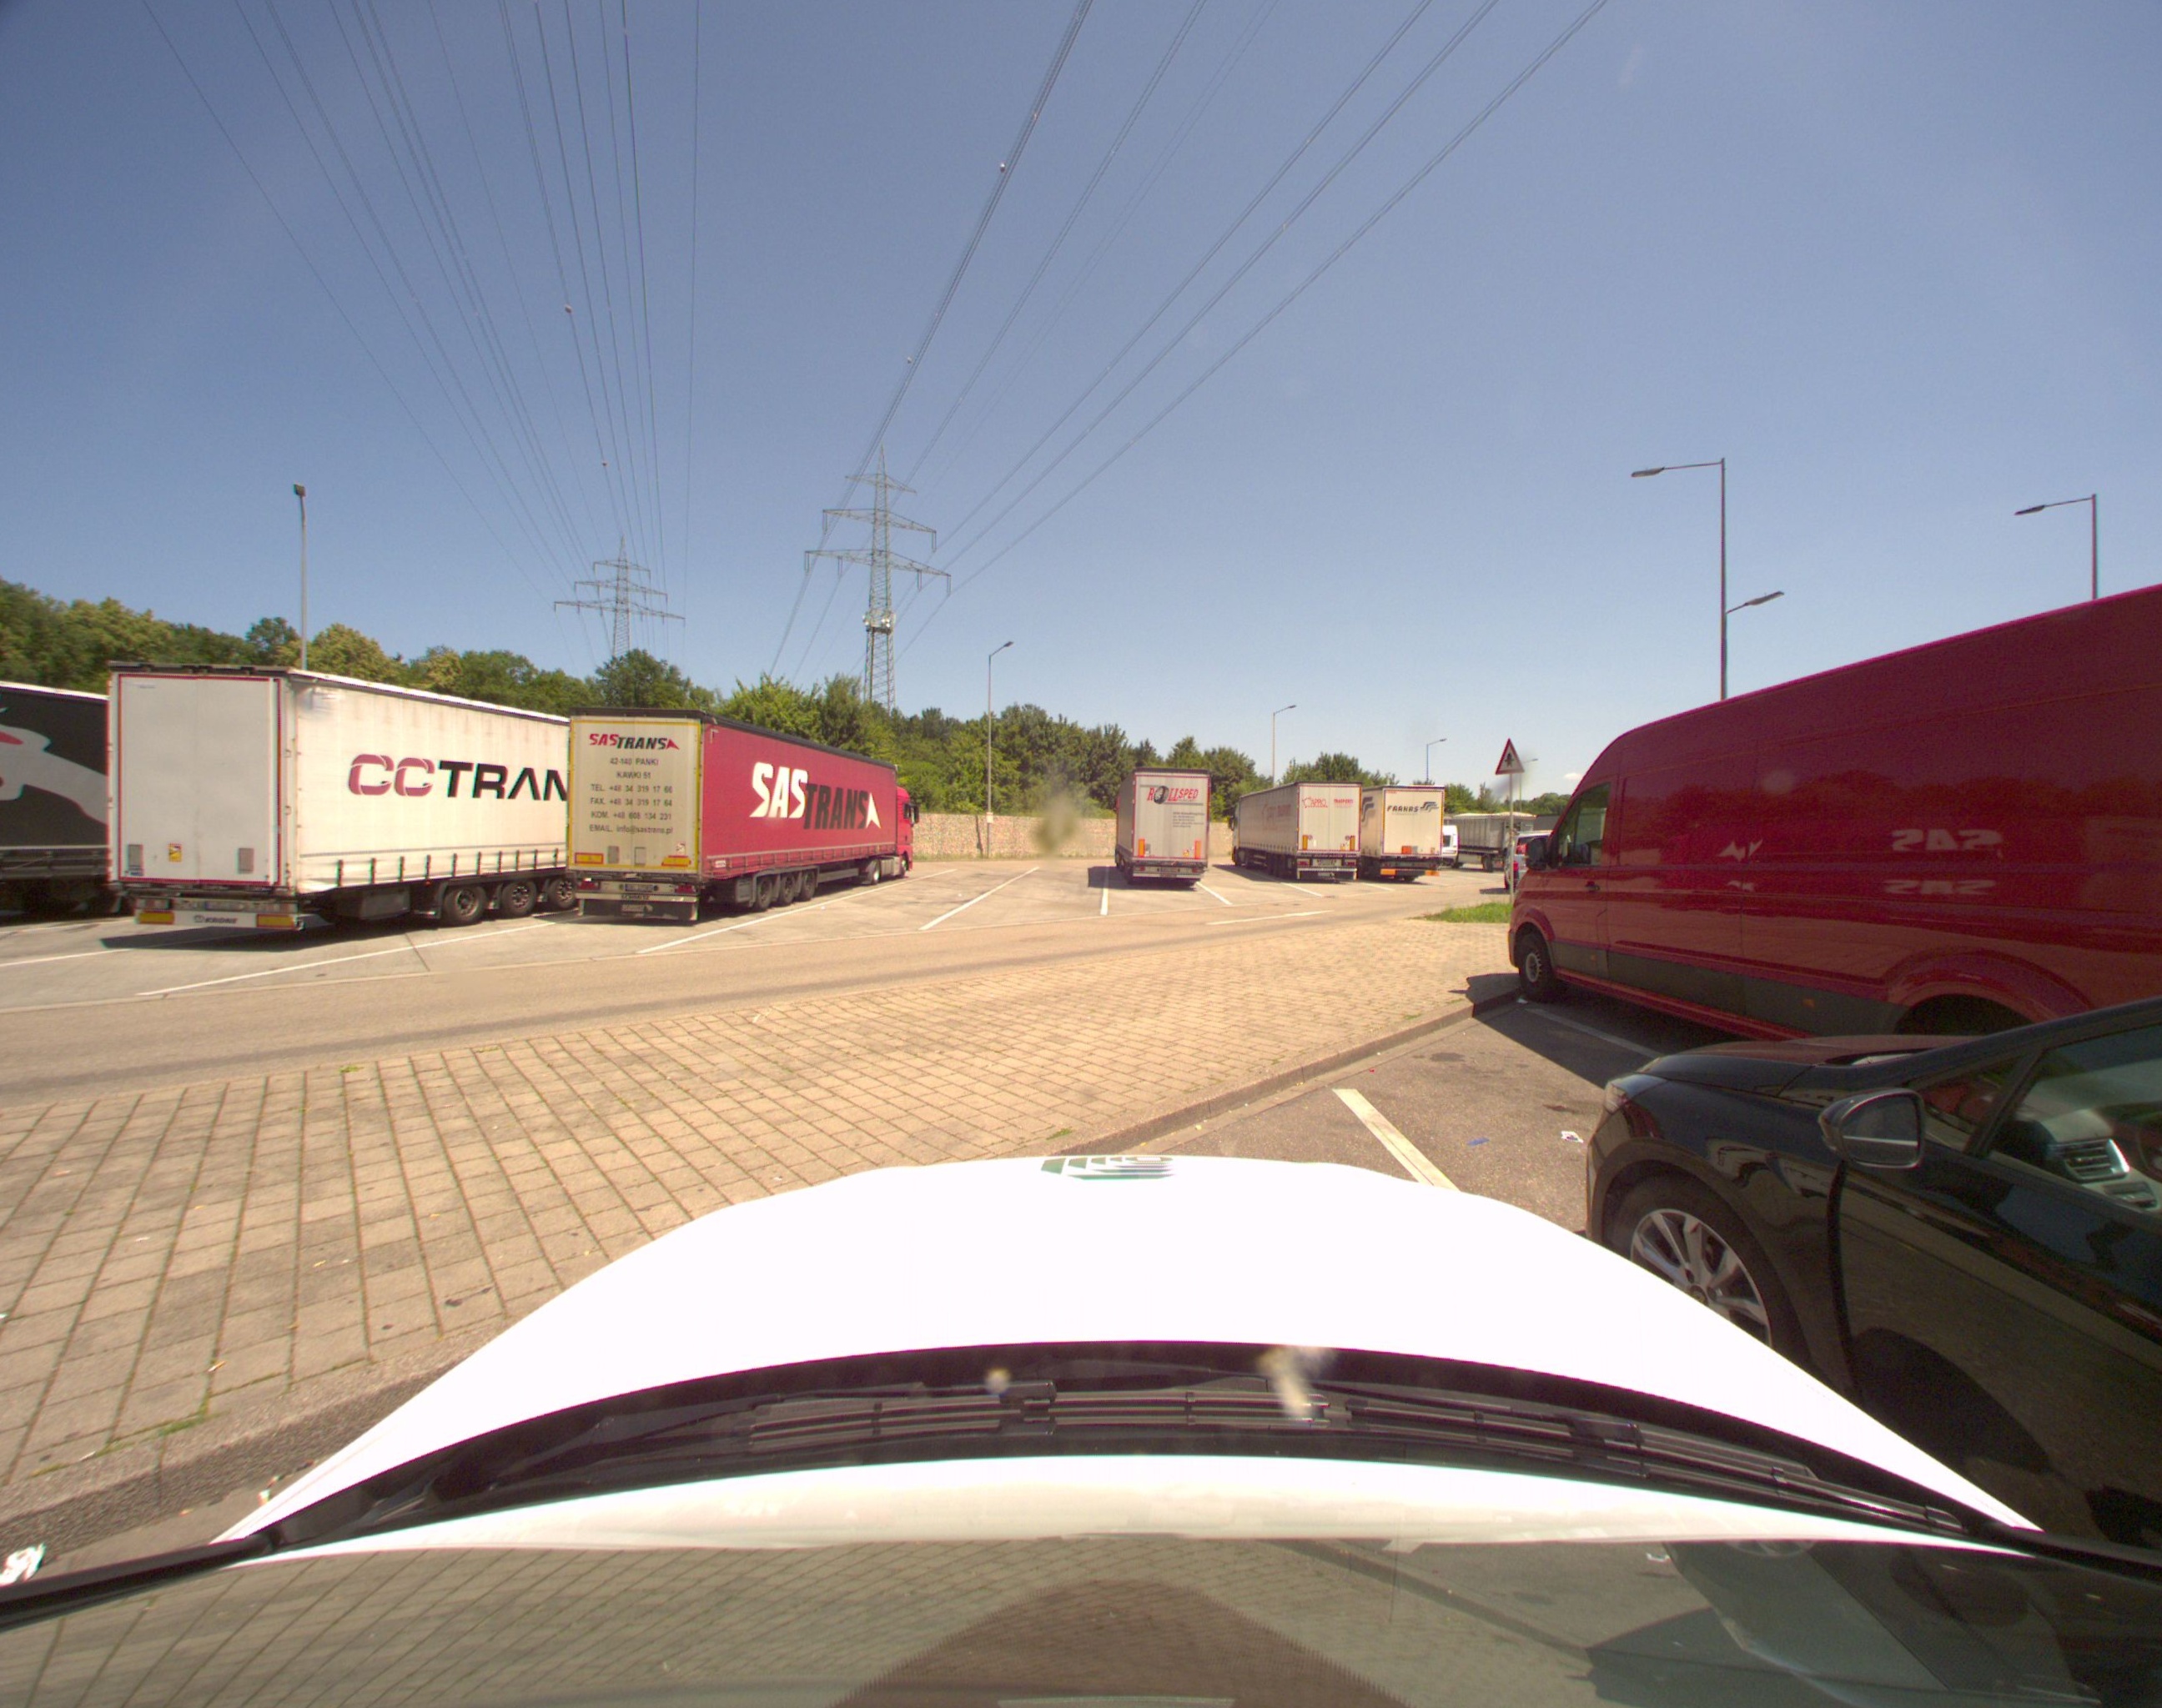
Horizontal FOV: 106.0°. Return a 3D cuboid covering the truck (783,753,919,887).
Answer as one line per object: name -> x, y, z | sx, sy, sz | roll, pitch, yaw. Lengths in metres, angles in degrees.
truck -> -7.754, -1.156, 28.360 | 2.686, 4.112, 6.243 | 1, 2, 2

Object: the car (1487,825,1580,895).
car -> 15.190, 0.142, 27.625 | 1.977, 2.150, 5.340 | 0, 1, 20

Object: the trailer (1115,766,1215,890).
trailer -> 3.040, -1.105, 33.741 | 2.857, 4.037, 14.244 | 0, 2, 1

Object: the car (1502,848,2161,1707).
car -> 2.453, 0.755, 1.153 | 1.612, 1.483, 3.762 | -1, 1, -4

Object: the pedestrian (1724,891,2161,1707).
pedestrian -> 1.688, 0.887, 1.476 | 0.651, 1.586, 0.648 | -1, 1, -33

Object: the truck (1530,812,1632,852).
truck -> 38.025, -1.640, 62.395 | 2.117, 2.820, 9.783 | -1, 1, 2

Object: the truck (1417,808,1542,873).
truck -> 24.293, -0.955, 50.515 | 2.478, 3.568, 11.429 | 1, 2, 2

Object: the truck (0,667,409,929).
truck -> -18.621, -1.026, 16.279 | 2.803, 4.190, 8.793 | 0, 2, 2

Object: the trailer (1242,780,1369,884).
trailer -> 9.948, -1.103, 37.915 | 2.856, 4.037, 12.445 | 1, 2, 2

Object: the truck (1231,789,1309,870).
truck -> 10.174, -1.368, 44.547 | 2.856, 4.037, 6.960 | 1, 2, 2

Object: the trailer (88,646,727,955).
trailer -> -12.166, -0.979, 17.799 | 2.803, 4.266, 12.947 | 0, 2, 2

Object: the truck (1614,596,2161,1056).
truck -> 7.937, -0.210, 7.078 | 2.455, 2.792, 6.978 | 0, 1, 4

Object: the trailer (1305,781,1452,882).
trailer -> 13.636, -1.122, 38.891 | 2.856, 4.037, 12.445 | 1, 2, 2

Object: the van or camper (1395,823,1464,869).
van or camper -> 20.824, -0.497, 48.976 | 2.096, 2.561, 5.376 | -1, 1, 3

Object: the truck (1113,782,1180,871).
truck -> 3.132, -1.394, 40.829 | 2.857, 4.037, 7.029 | 0, 2, 1

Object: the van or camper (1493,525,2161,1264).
van or camper -> 5.137, 0.100, 5.505 | 1.986, 2.654, 6.490 | -1, 1, 6

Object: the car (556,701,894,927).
car -> -8.053, -0.937, 21.444 | 2.686, 4.112, 12.943 | 1, 2, 2
